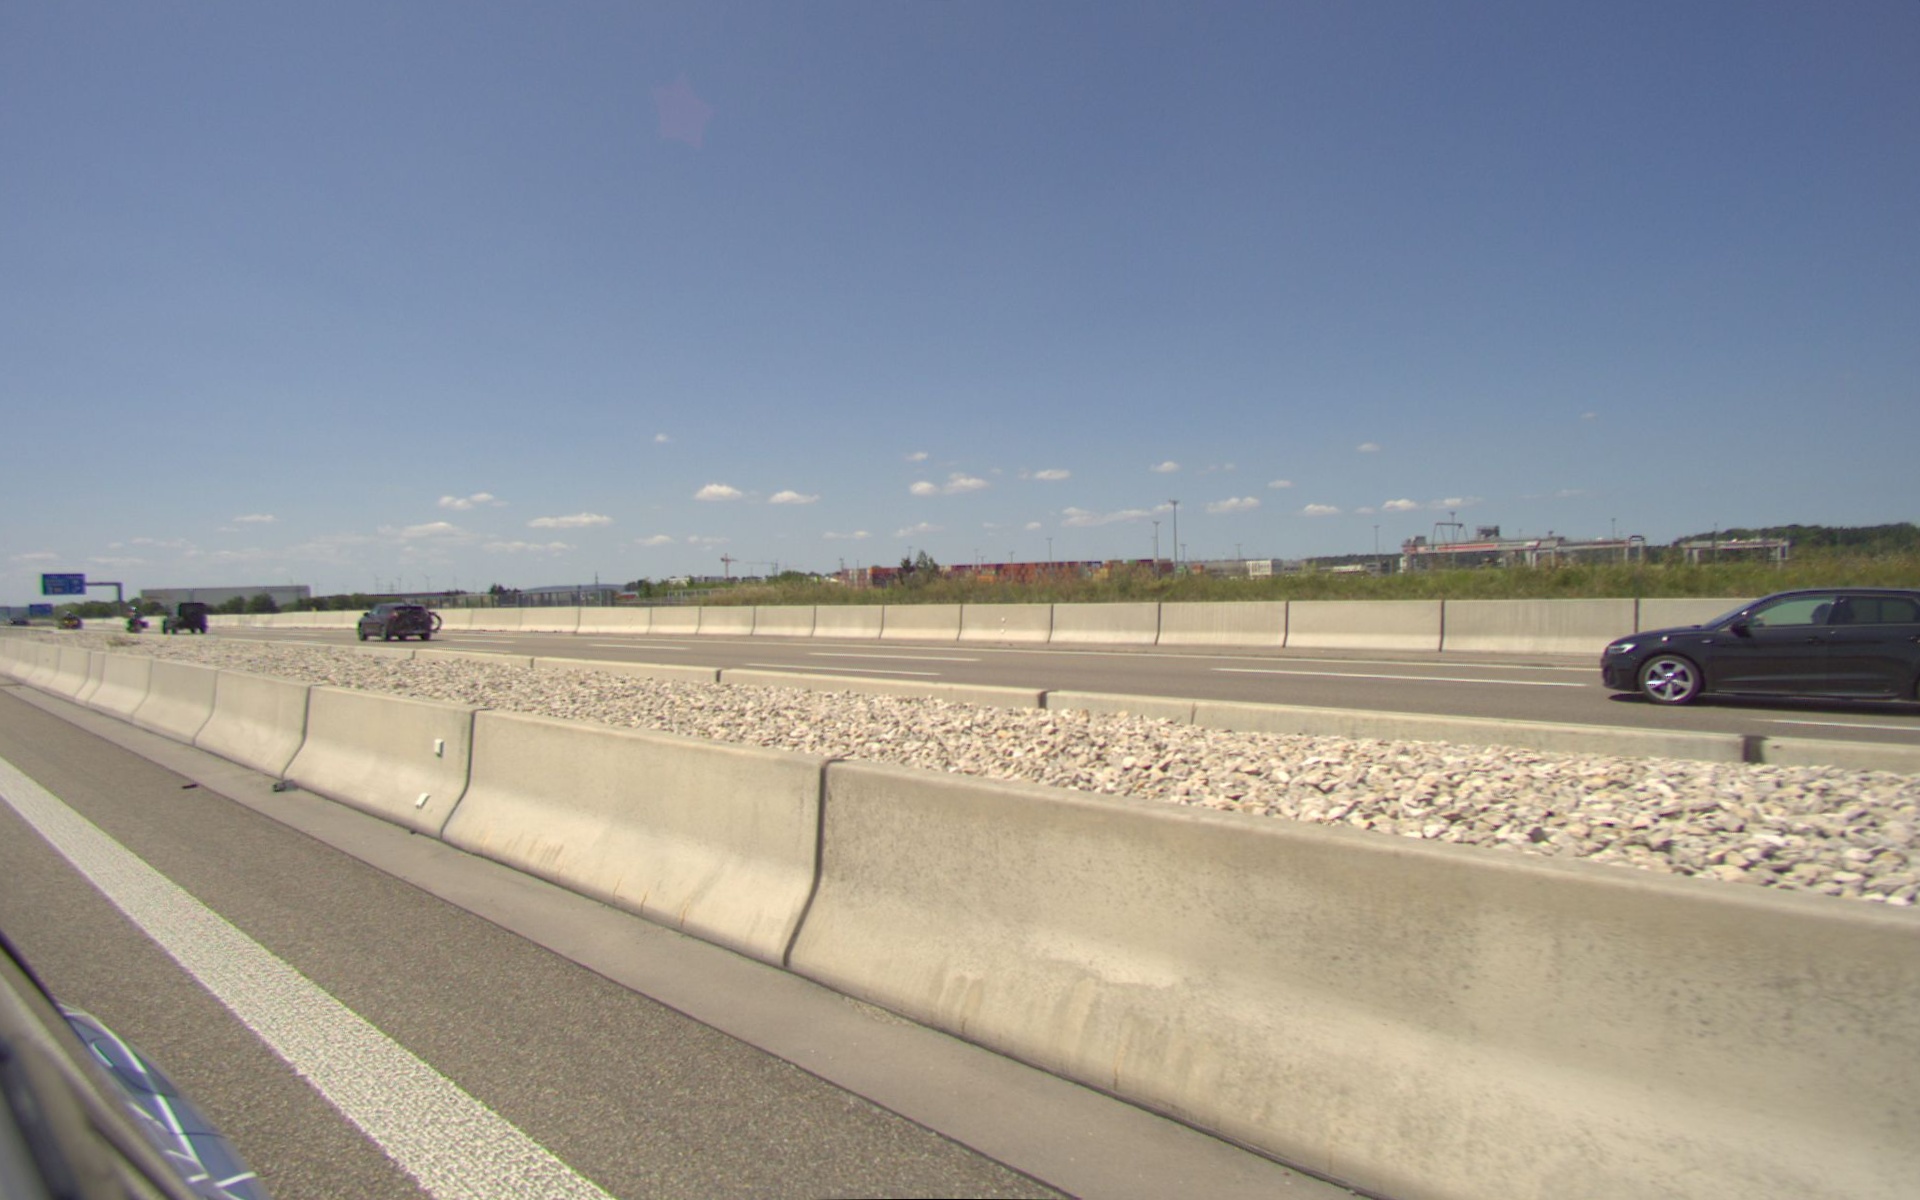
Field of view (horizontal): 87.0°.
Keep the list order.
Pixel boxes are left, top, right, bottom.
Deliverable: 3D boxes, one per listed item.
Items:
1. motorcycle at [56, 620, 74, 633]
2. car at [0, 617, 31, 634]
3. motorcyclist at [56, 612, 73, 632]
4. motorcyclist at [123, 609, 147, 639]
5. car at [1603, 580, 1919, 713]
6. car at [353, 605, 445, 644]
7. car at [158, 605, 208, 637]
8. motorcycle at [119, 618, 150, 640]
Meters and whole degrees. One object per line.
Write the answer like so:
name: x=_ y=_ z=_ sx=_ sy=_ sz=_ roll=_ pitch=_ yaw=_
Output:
motorcycle: x=-68.303 y=2.016 z=77.255 sx=2.705 sy=0.909 sz=0.767 roll=-1 pitch=0 yaw=43
car: x=-95.184 y=2.582 z=101.968 sx=4.649 sy=1.681 sz=1.972 roll=-1 pitch=0 yaw=43
motorcyclist: x=-68.616 y=1.717 z=77.552 sx=0.923 sy=1.508 sz=0.908 roll=-1 pitch=0 yaw=42
motorcyclist: x=-46.947 y=1.358 z=57.575 sx=1.088 sy=1.633 sz=0.910 roll=-1 pitch=0 yaw=42
car: x=10.233 y=0.485 z=11.780 sx=4.363 sy=1.389 sz=1.972 roll=-1 pitch=0 yaw=43
car: x=-23.748 y=1.042 z=42.740 sx=5.137 sy=1.502 sz=1.849 roll=-2 pitch=0 yaw=42
car: x=-51.719 y=1.380 z=67.319 sx=4.734 sy=2.033 sz=1.864 roll=-1 pitch=0 yaw=43
motorcycle: x=-47.180 y=1.644 z=57.823 sx=2.722 sy=1.178 sz=0.948 roll=-1 pitch=0 yaw=42
